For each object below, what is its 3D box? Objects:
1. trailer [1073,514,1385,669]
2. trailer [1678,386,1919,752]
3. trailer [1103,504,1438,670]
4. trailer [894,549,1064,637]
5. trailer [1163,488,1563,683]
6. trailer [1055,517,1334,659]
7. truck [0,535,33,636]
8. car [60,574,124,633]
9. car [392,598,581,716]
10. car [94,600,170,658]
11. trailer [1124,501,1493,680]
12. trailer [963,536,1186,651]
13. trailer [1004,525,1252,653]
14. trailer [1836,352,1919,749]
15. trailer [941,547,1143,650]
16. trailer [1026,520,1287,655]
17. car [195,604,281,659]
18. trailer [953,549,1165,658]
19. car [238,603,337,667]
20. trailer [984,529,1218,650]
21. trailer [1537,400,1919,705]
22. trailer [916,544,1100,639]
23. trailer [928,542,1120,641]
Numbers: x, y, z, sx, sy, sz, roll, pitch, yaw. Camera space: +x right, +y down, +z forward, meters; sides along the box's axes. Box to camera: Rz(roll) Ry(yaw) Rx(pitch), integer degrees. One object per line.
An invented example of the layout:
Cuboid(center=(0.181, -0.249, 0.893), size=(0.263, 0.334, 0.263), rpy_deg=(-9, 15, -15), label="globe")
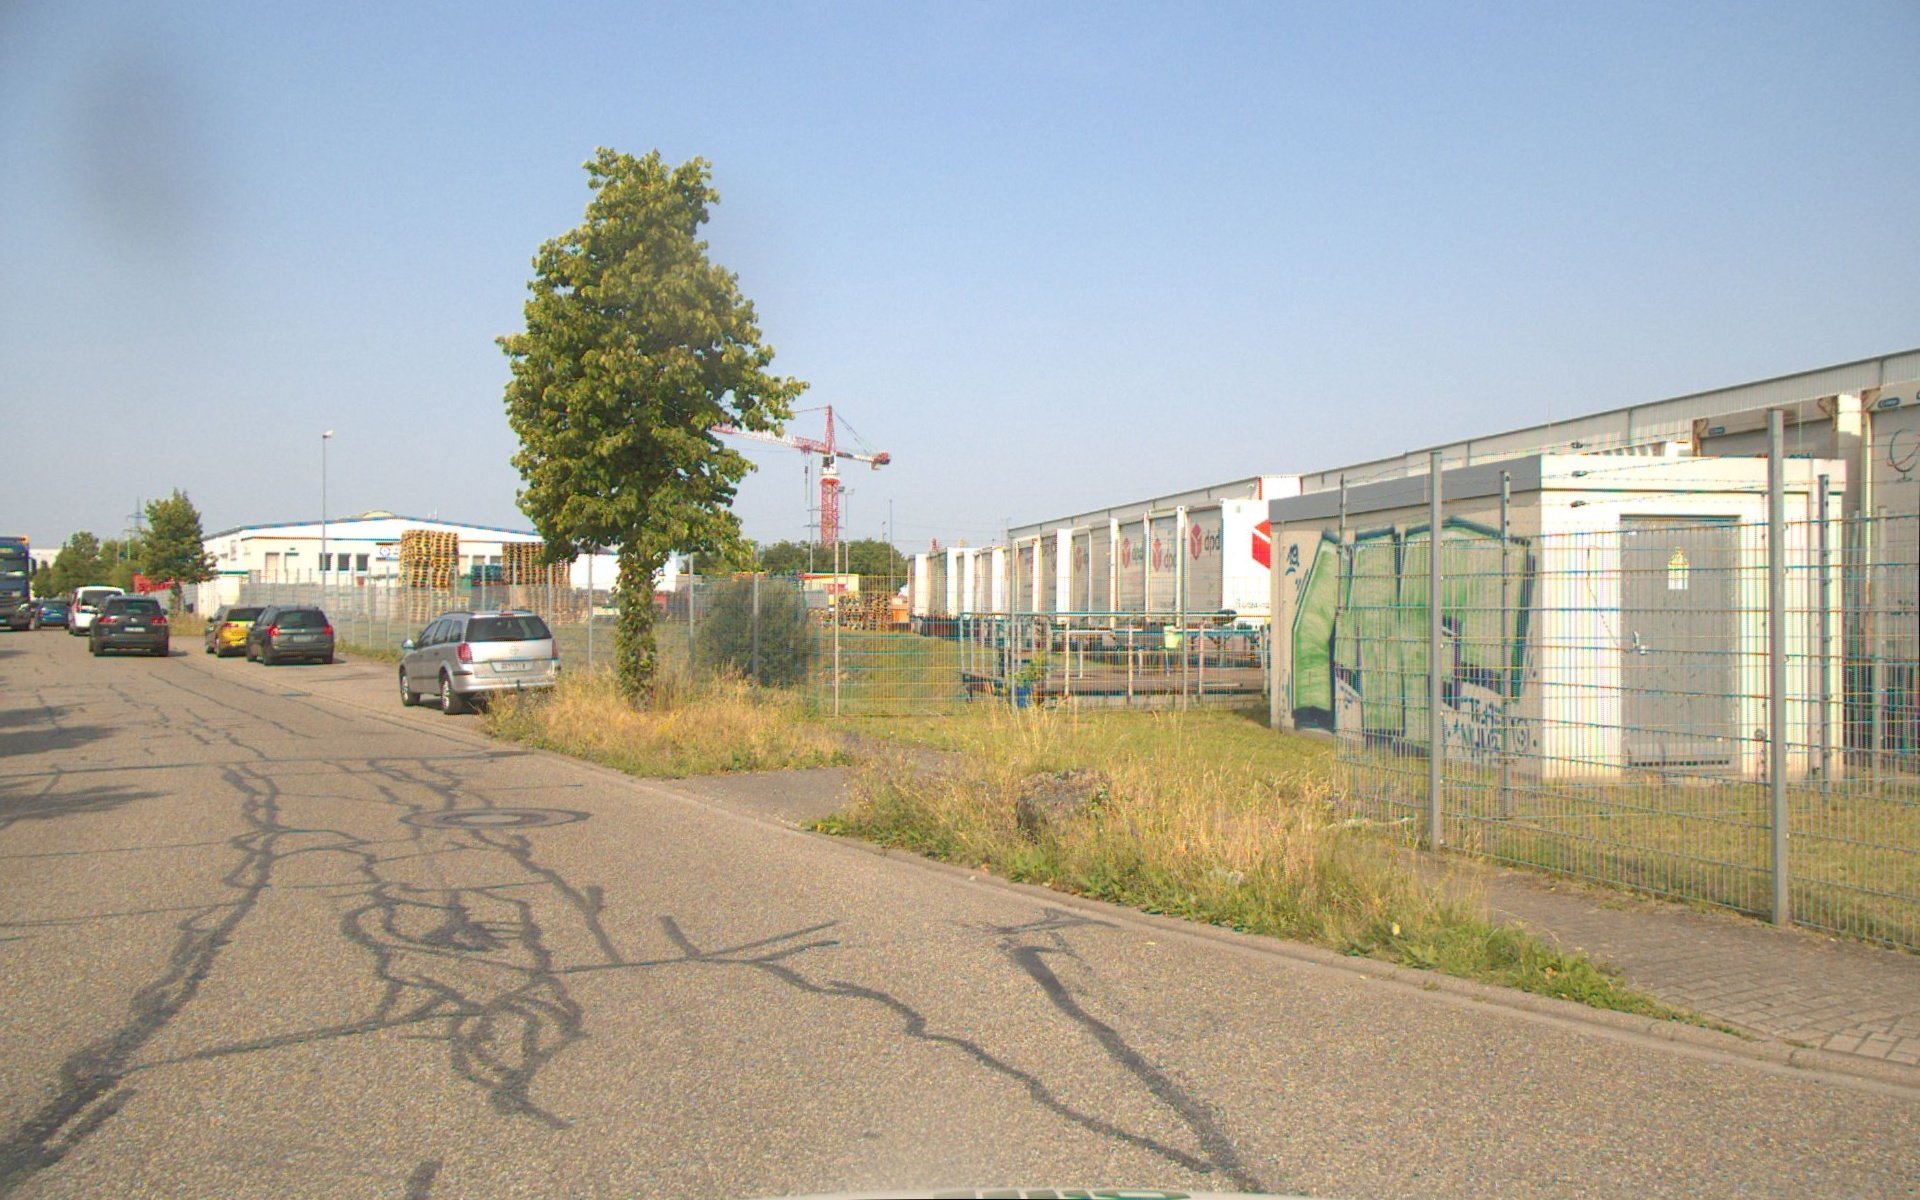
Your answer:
Cuboid(center=(7.522, -0.206, 46.504), size=(8.163, 3.961, 2.767), rpy_deg=(2, 0, -13), label="trailer")
Cuboid(center=(13.345, -0.395, 20.100), size=(8.383, 3.962, 2.768), rpy_deg=(-1, 0, -11), label="trailer")
Cuboid(center=(8.130, -0.305, 43.509), size=(8.163, 3.961, 2.767), rpy_deg=(2, 0, -13), label="trailer")
Cuboid(center=(0.918, -0.328, 80.816), size=(7.824, 3.961, 2.734), rpy_deg=(2, 0, -13), label="trailer")
Cuboid(center=(9.080, -0.291, 37.455), size=(8.387, 3.961, 2.767), rpy_deg=(2, 0, -13), label="trailer")
Cuboid(center=(7.126, -0.338, 50.459), size=(7.893, 3.961, 2.767), rpy_deg=(2, 0, -13), label="trailer")
Cuboid(center=(-42.864, -0.594, 73.526), size=(2.474, 4.217, 10.268), rpy_deg=(-2, 1, -31), label="truck")
Cuboid(center=(-33.246, 0.141, 63.388), size=(2.097, 2.147, 4.582), rpy_deg=(0, 0, -28), label="car")
Cuboid(center=(-7.610, 0.823, 26.306), size=(1.781, 1.654, 4.402), rpy_deg=(-2, 1, -31), label="car")
Cuboid(center=(-23.924, 0.815, 47.898), size=(1.857, 1.614, 4.080), rpy_deg=(0, 0, -25), label="car")
Cuboid(center=(8.500, -0.197, 40.524), size=(8.387, 3.961, 2.767), rpy_deg=(2, 0, -13), label="trailer")
Cuboid(center=(4.288, -0.226, 62.339), size=(7.824, 3.961, 2.767), rpy_deg=(2, 0, -13), label="trailer")
Cuboid(center=(5.666, -0.352, 56.216), size=(7.824, 3.961, 2.767), rpy_deg=(2, 0, -13), label="trailer")
Cuboid(center=(13.747, -0.491, 17.037), size=(8.381, 3.962, 2.768), rpy_deg=(0, -2, -10), label="trailer")
Cuboid(center=(3.385, -0.061, 68.773), size=(7.824, 3.961, 2.767), rpy_deg=(2, 0, -13), label="trailer")
Cuboid(center=(6.295, -0.372, 53.320), size=(7.824, 3.961, 2.767), rpy_deg=(2, 0, -13), label="trailer")
Cuboid(center=(-21.018, 0.877, 48.068), size=(1.698, 1.480, 4.141), rpy_deg=(-2, 1, -32), label="car")
Cuboid(center=(3.868, 0.161, 65.393), size=(7.824, 3.961, 2.767), rpy_deg=(2, 0, -13), label="trailer")
Cuboid(center=(-17.731, 0.888, 43.532), size=(1.699, 1.541, 3.958), rpy_deg=(-2, 1, -33), label="car")
Cuboid(center=(5.031, -0.355, 59.303), size=(7.824, 3.961, 2.767), rpy_deg=(2, 0, -13), label="trailer")
Cuboid(center=(12.659, -0.544, 23.031), size=(8.579, 3.827, 2.782), rpy_deg=(1, -1, -13), label="trailer")
Cuboid(center=(2.146, -0.393, 74.920), size=(7.824, 3.961, 2.767), rpy_deg=(2, 0, -13), label="trailer")
Cuboid(center=(2.752, -0.350, 72.064), size=(7.824, 3.961, 2.767), rpy_deg=(2, 0, -13), label="trailer")
